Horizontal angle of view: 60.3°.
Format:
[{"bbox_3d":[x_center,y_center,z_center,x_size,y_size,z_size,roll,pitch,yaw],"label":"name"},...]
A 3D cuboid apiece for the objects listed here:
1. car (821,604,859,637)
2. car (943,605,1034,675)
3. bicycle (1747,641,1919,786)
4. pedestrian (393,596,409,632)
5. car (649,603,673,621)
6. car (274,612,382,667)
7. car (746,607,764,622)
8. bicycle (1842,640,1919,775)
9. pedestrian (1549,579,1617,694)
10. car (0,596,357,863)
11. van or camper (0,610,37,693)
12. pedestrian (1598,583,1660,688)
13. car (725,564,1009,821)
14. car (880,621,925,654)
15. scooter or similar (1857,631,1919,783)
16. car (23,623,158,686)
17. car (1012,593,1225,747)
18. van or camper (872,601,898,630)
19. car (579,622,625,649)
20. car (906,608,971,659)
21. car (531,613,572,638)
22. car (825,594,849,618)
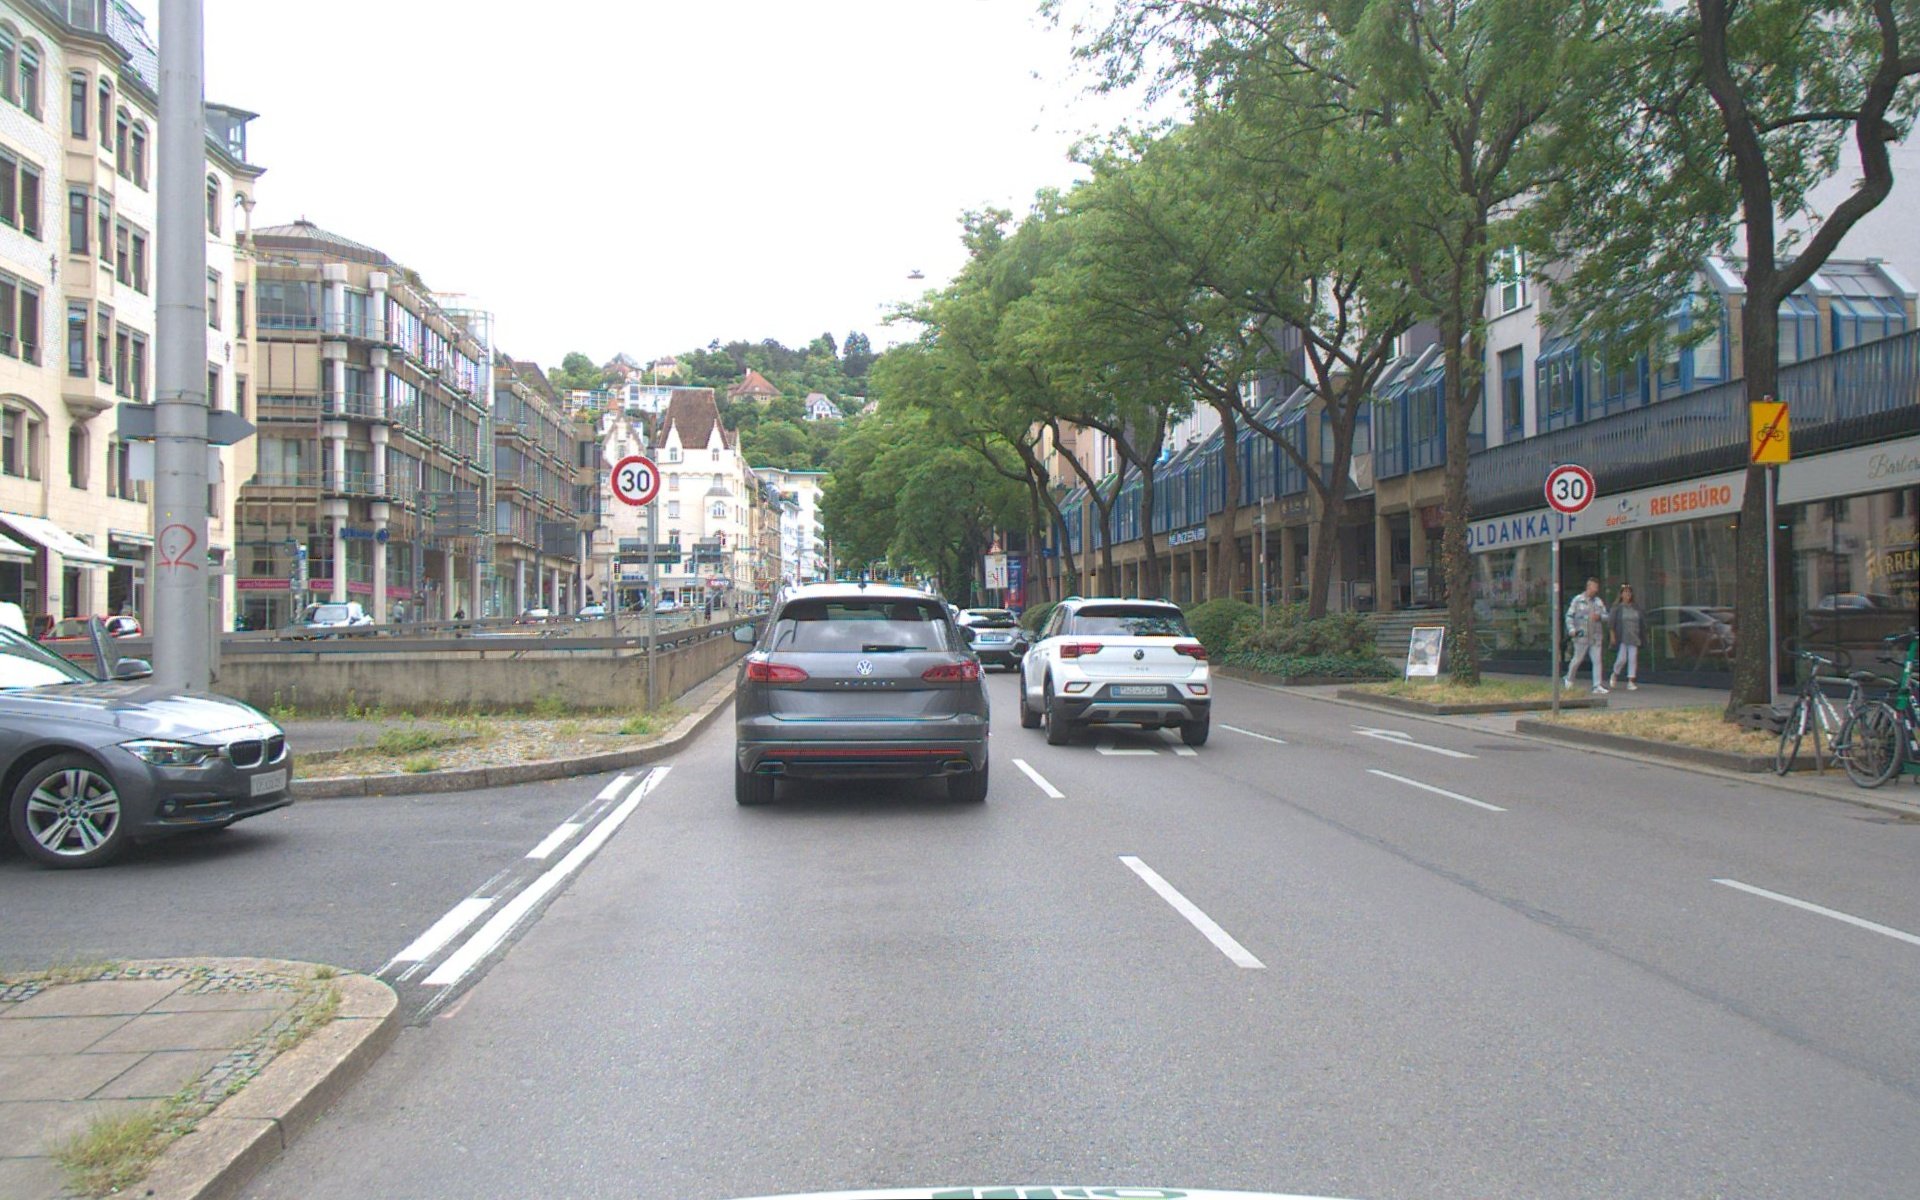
[{"bbox_3d":[-6.271,1.059,86.168,1.797,1.594,3.761,-2,0,-7],"label":"car"},{"bbox_3d":[0.607,0.894,38.561,1.797,1.457,4.145,0,1,-4],"label":"car"},{"bbox_3d":[7.652,0.955,14.502,0.480,1.152,1.841,-1,-1,-5],"label":"bicycle"},{"bbox_3d":[-29.284,0.750,86.664,0.522,1.824,0.694,4,-2,-4],"label":"pedestrian"},{"bbox_3d":[-31.097,1.221,172.025,1.954,1.799,4.276,-1,0,-4],"label":"car"},{"bbox_3d":[-18.922,1.144,49.747,1.881,1.554,4.536,-1,0,-6],"label":"car"},{"bbox_3d":[-25.054,1.815,202.035,1.954,1.799,4.276,-1,0,-4],"label":"car"},{"bbox_3d":[8.609,0.946,14.498,0.480,1.152,1.882,-1,-1,-10],"label":"bicycle"},{"bbox_3d":[9.967,0.575,26.491,0.584,1.784,0.938,-1,0,-10],"label":"pedestrian"},{"bbox_3d":[-6.333,0.754,10.284,4.455,1.484,1.882,-1,-1,3],"label":"car"},{"bbox_3d":[-21.300,1.101,34.587,1.831,1.782,4.481,0,0,-6],"label":"van or camper"},{"bbox_3d":[10.817,0.572,26.756,0.584,1.657,0.755,-1,0,-10],"label":"pedestrian"},{"bbox_3d":[-0.790,0.650,13.672,1.931,1.725,4.221,-2,0,-4],"label":"car"},{"bbox_3d":[-2.567,1.669,74.323,1.794,1.387,3.767,-2,0,1],"label":"car"},{"bbox_3d":[8.195,0.909,14.125,0.301,1.273,0.992,0,-1,-17],"label":"scooter or similar"},{"bbox_3d":[-21.693,1.330,41.417,1.753,1.430,3.578,-1,0,-6],"label":"car"},{"bbox_3d":[1.705,0.775,19.031,1.762,1.573,3.931,0,-2,-5],"label":"car"},{"bbox_3d":[-8.499,1.763,187.157,2.576,3.234,5.796,-1,0,-5],"label":"van or camper"},{"bbox_3d":[-22.498,2.198,104.067,1.953,1.613,4.885,-1,0,-2],"label":"car"},{"bbox_3d":[-0.711,1.051,52.519,1.796,1.544,3.763,-1,-1,-5],"label":"car"},{"bbox_3d":[-25.327,1.565,102.632,1.956,1.490,4.877,-1,0,-8],"label":"car"},{"bbox_3d":[-10.132,0.509,136.034,1.795,1.907,4.867,-2,0,-3],"label":"car"}]
